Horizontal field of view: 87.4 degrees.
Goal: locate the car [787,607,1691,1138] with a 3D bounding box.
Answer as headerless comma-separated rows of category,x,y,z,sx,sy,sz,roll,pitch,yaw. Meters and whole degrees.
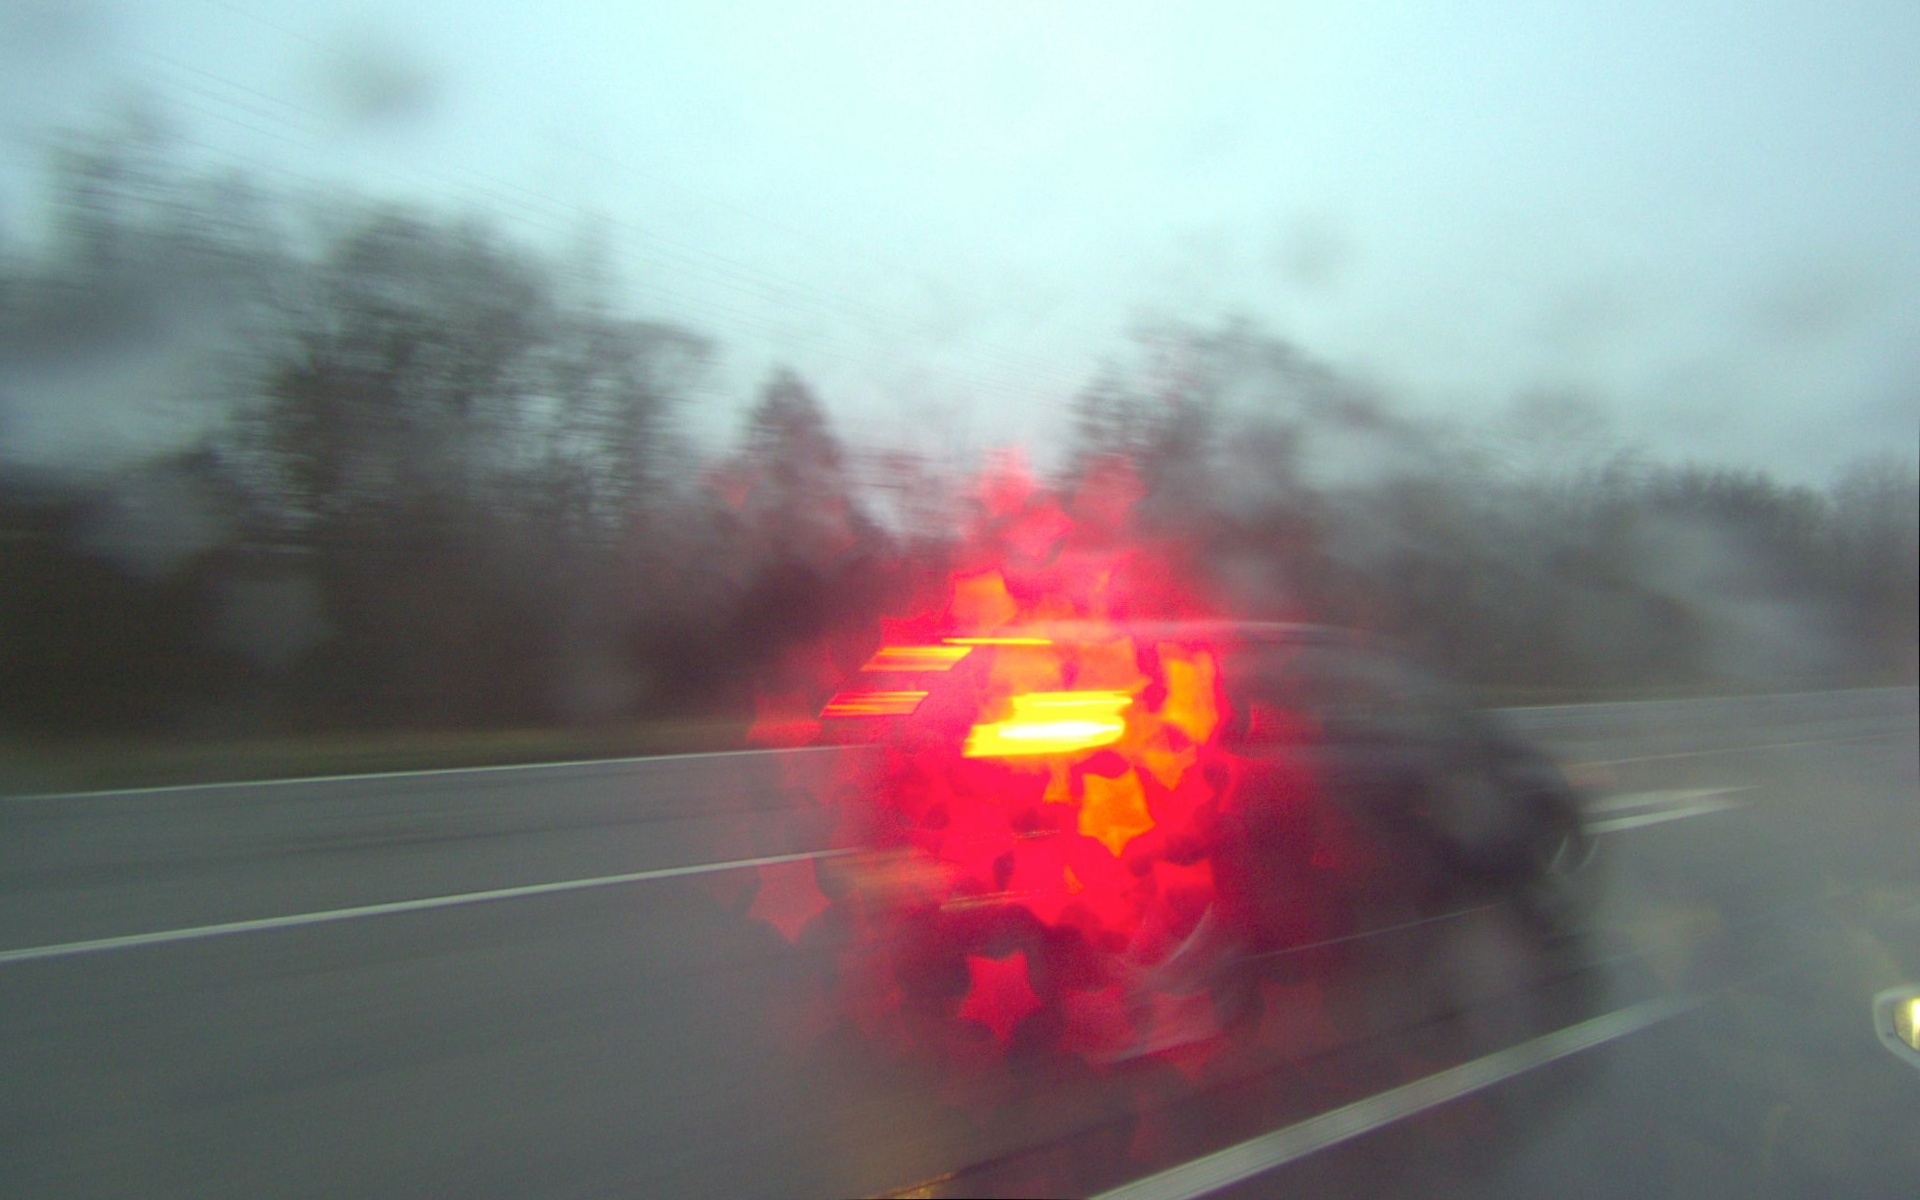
car,1.460,0.811,4.597,4.125,1.440,1.623,1,1,-32
